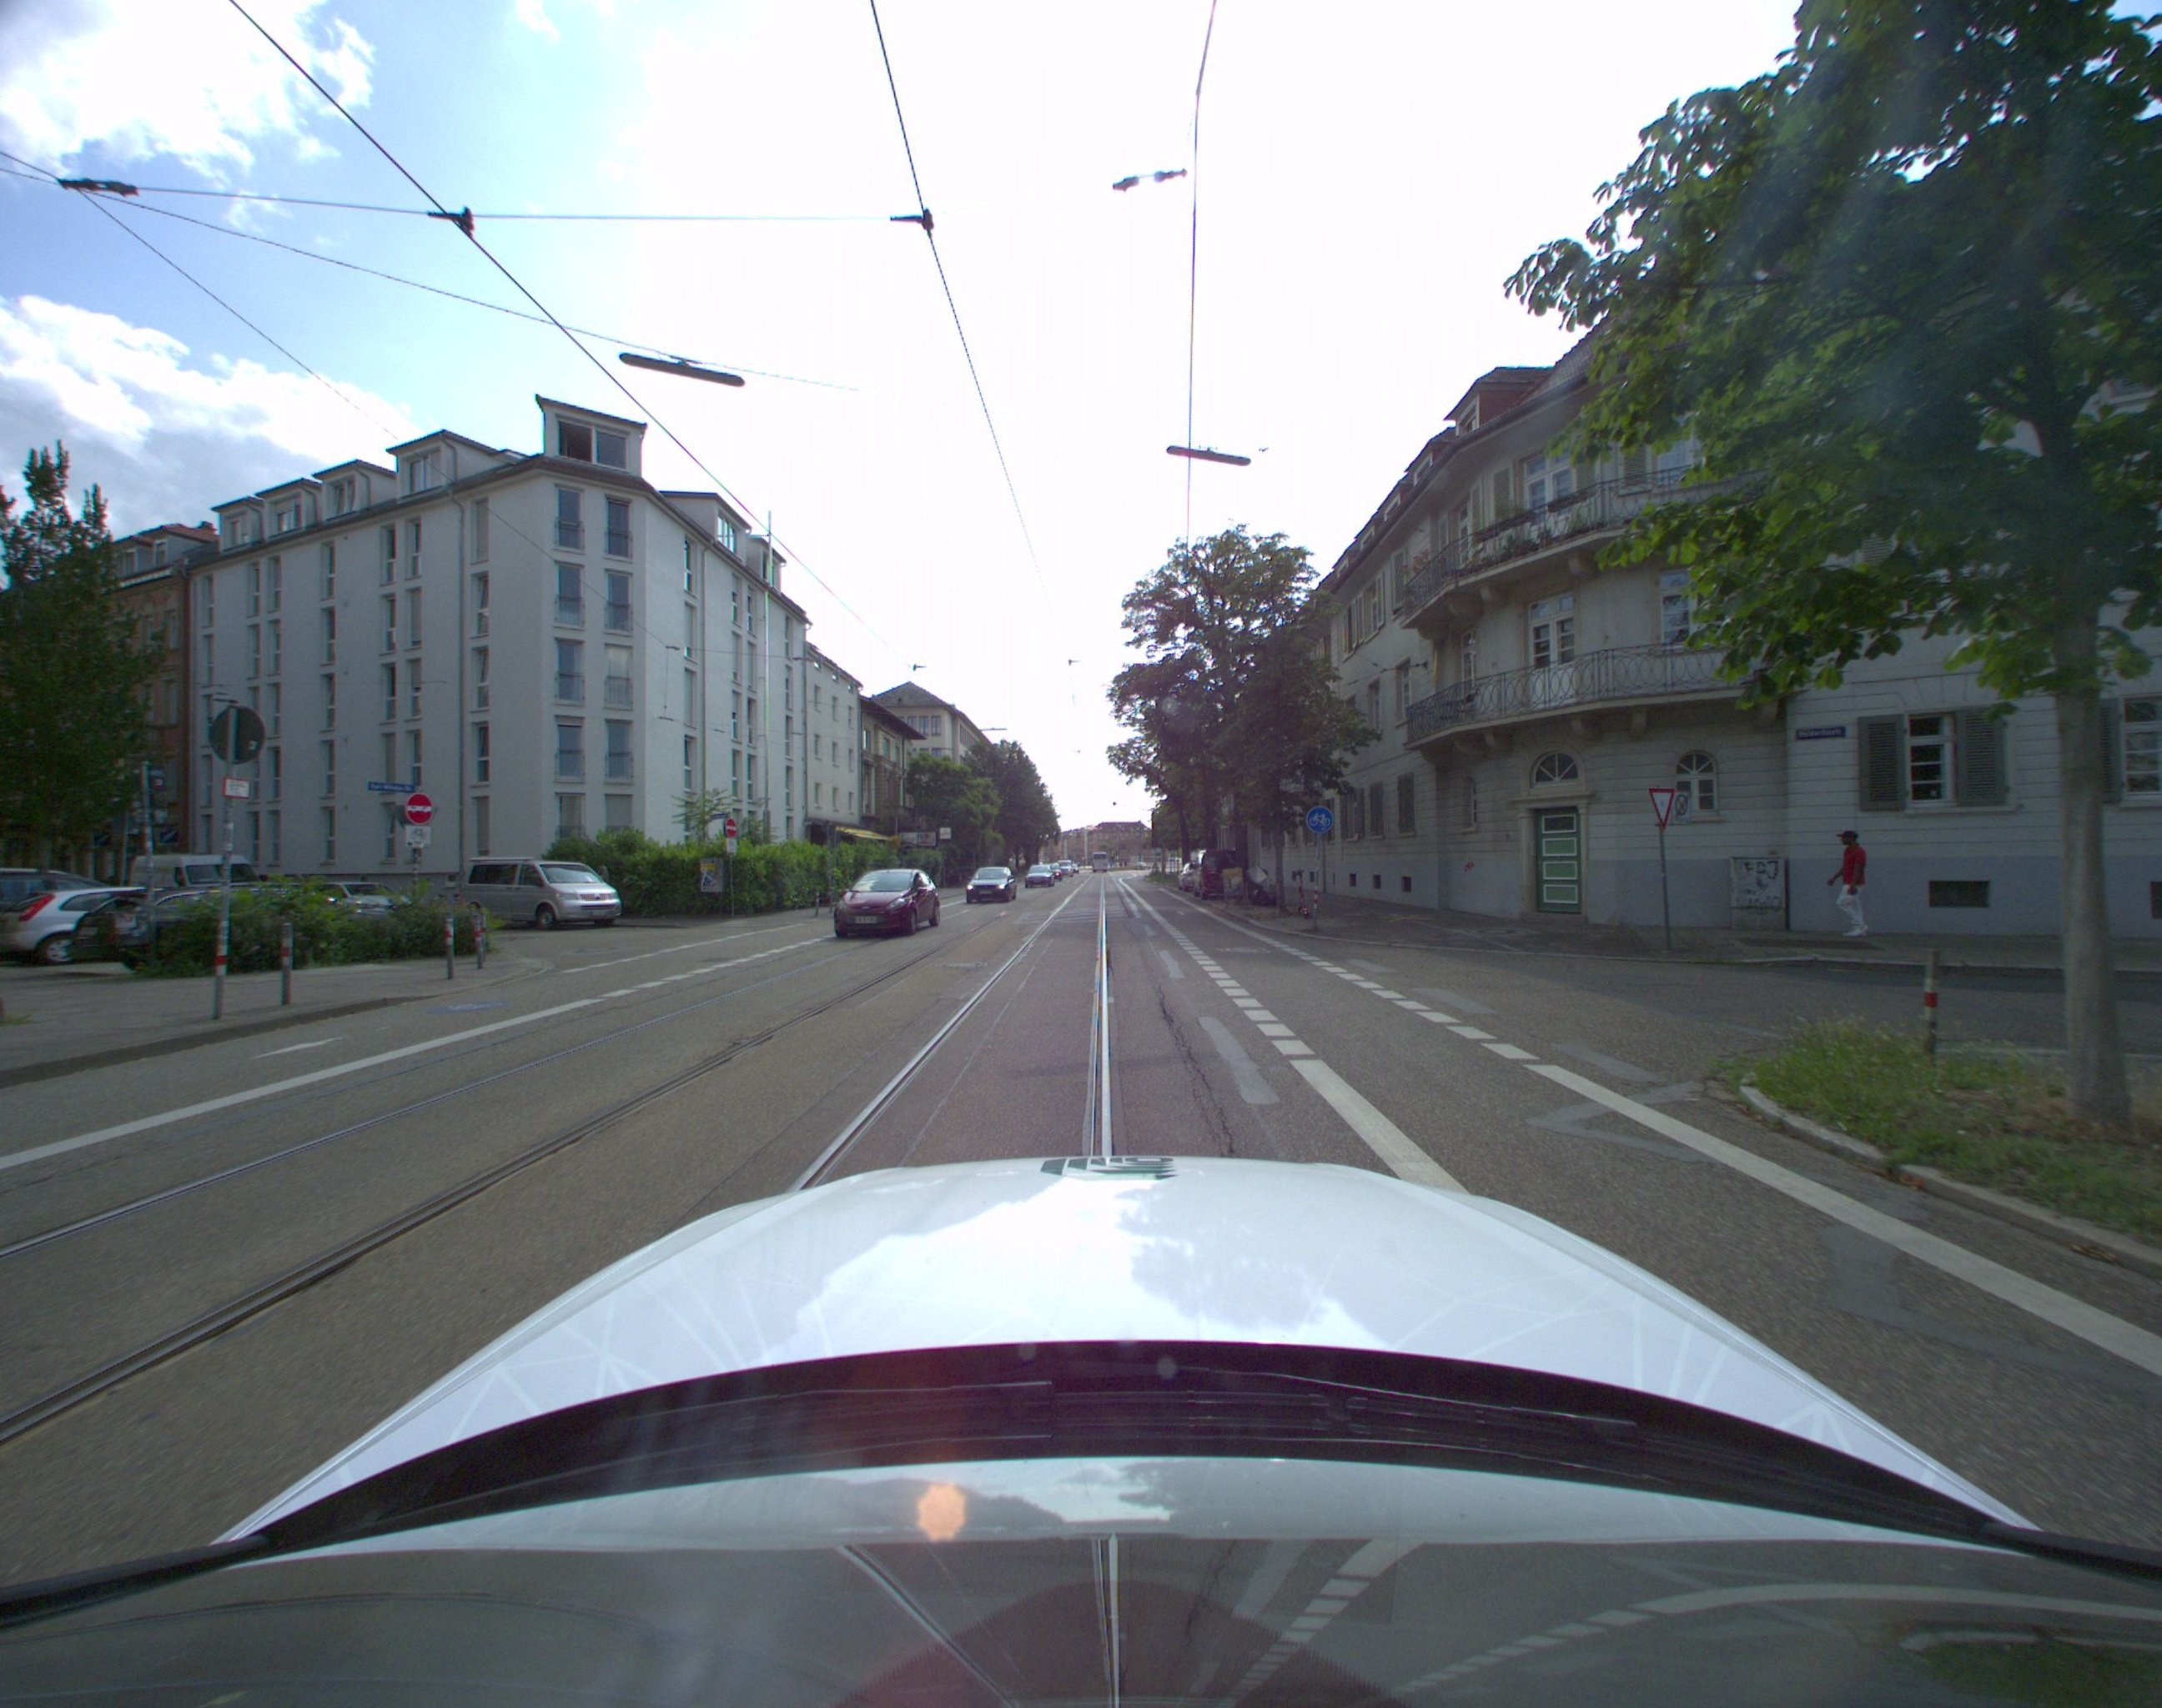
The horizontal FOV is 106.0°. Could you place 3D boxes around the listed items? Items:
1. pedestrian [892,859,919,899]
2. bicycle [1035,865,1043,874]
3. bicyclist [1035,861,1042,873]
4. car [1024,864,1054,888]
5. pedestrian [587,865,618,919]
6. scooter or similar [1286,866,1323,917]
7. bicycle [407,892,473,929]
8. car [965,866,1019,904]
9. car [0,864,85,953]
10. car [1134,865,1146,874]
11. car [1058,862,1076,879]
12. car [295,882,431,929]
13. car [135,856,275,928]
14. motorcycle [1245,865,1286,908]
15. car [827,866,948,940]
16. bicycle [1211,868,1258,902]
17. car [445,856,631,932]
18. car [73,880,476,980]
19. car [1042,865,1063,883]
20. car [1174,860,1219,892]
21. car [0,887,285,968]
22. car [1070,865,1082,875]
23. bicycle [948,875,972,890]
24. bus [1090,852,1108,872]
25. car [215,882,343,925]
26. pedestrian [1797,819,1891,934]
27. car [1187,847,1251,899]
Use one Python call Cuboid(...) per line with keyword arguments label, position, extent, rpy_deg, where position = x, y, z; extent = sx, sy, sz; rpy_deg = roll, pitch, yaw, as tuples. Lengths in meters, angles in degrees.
Cuboid(label="pedestrian", position=(-8.526, 1.194, 39.527), extent=(1.055, 1.917, 0.830), rpy_deg=(-1, -1, 2))
Cuboid(label="bicycle", position=(-5.288, 1.978, 103.248), extent=(0.600, 1.097, 2.025), rpy_deg=(-7, -1, 4))
Cuboid(label="bicyclist", position=(-5.332, 1.621, 103.189), extent=(0.596, 1.492, 0.883), rpy_deg=(-7, -1, 4))
Cuboid(label="car", position=(-2.820, 1.463, 55.293), extent=(1.721, 1.540, 4.277), rpy_deg=(-2, -1, 0))
Cuboid(label="pedestrian", position=(-15.187, 1.192, 25.854), extent=(0.480, 1.699, 0.785), rpy_deg=(-1, -1, 2))
Cuboid(label="scooter or similar", position=(5.870, 0.959, 21.445), extent=(0.530, 1.251, 1.721), rpy_deg=(-2, -1, 2))
Cuboid(label="bicycle", position=(-19.688, 1.705, 25.005), extent=(2.007, 1.066, 0.789), rpy_deg=(-1, -1, 26))
Cuboid(label="car", position=(-3.542, 1.217, 33.109), extent=(1.622, 1.407, 4.130), rpy_deg=(-1, 0, 1))
Cuboid(label="car", position=(-25.477, 1.256, 18.289), extent=(1.684, 1.996, 3.606), rpy_deg=(-1, -1, 25))
Cuboid(label="car", position=(11.547, 2.954, 159.760), extent=(2.118, 1.684, 4.111), rpy_deg=(0, 0, 8))
Cuboid(label="car", position=(-1.574, 1.843, 92.771), extent=(1.891, 1.907, 5.383), rpy_deg=(-1, -1, 0))
Cuboid(label="car", position=(-23.745, 1.676, 26.950), extent=(3.953, 1.416, 1.667), rpy_deg=(-1, -1, 20))
Cuboid(label="car", position=(-33.171, 1.385, 30.805), extent=(5.603, 2.508, 2.156), rpy_deg=(-1, -1, 27))
Cuboid(label="motorcycle", position=(5.906, 1.019, 26.245), extent=(0.854, 1.321, 2.446), rpy_deg=(-1, -1, 2))
Cuboid(label="car", position=(-4.314, 1.045, 18.765), extent=(1.588, 1.440, 3.939), rpy_deg=(-2, -1, 3))
Cuboid(label="bicycle", position=(5.615, 1.135, 29.873), extent=(1.605, 1.203, 0.589), rpy_deg=(-1, -1, -2))
Cuboid(label="car", position=(-15.583, 1.122, 23.378), extent=(4.886, 2.014, 2.061), rpy_deg=(-2, -1, 23))
Cuboid(label="car", position=(-14.373, 1.230, 14.880), extent=(1.869, 1.364, 4.994), rpy_deg=(-1, -1, 36))
Cuboid(label="car", position=(-2.528, 1.769, 73.498), extent=(1.625, 1.556, 3.823), rpy_deg=(-1, -1, 2))
Cuboid(label="car", position=(5.889, 1.101, 42.070), extent=(1.701, 1.498, 4.790), rpy_deg=(-1, -1, 1))
Cuboid(label="car", position=(-19.442, 1.416, 16.850), extent=(1.870, 1.401, 3.789), rpy_deg=(-1, -2, 25))
Cuboid(label="car", position=(-0.694, 2.448, 121.654), extent=(1.682, 1.402, 3.931), rpy_deg=(-2, -1, 1))
Cuboid(label="bicycle", position=(-8.635, 2.018, 58.288), extent=(1.138, 0.909, 2.989), rpy_deg=(2, -1, 1))
Cuboid(label="bus", position=(3.077, 1.379, 141.154), extent=(2.907, 3.328, 12.206), rpy_deg=(0, -1, 1))
Cuboid(label="car", position=(-28.274, 1.718, 28.719), extent=(3.953, 1.416, 1.667), rpy_deg=(-1, -1, 20))
Cuboid(label="pedestrian", position=(13.332, 0.385, 14.270), extent=(0.965, 1.937, 0.907), rpy_deg=(-1, -2, 28))
Cuboid(label="car", position=(5.656, 0.751, 33.920), extent=(1.888, 1.941, 4.951), rpy_deg=(-1, -1, 1))
